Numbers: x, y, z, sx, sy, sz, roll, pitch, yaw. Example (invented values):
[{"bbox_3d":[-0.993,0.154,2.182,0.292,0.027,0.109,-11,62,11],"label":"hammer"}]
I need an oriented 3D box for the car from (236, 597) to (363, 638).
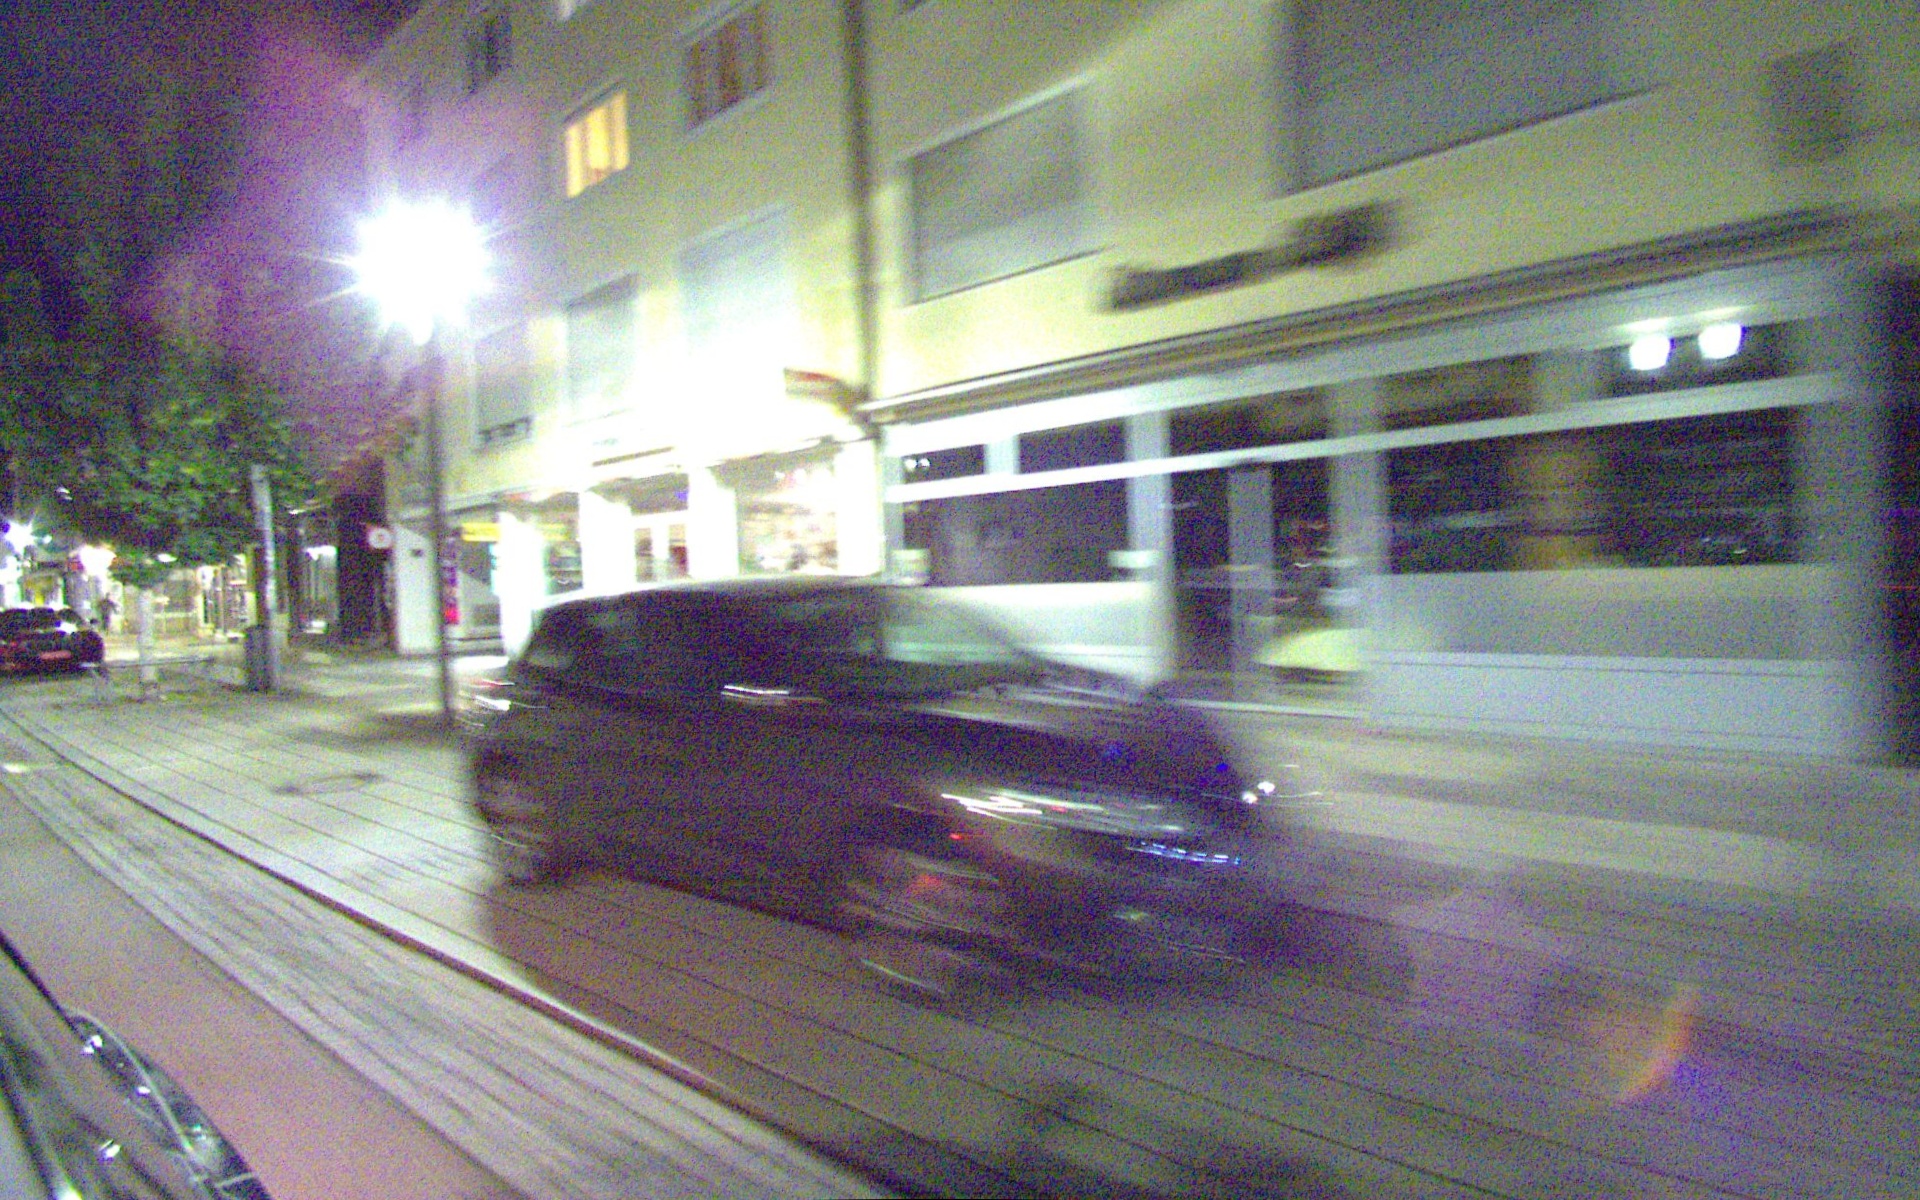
[{"bbox_3d":[-29.448,0.760,45.221,1.779,1.411,4.394,-5,0,42],"label":"car"}]

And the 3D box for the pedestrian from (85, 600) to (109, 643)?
[{"bbox_3d":[-36.325,0.908,42.602,1.023,1.758,0.614,-1,2,43],"label":"pedestrian"}]

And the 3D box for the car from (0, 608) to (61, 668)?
[{"bbox_3d":[-25.856,1.021,27.476,3.846,1.487,1.710,-1,2,42],"label":"car"}]

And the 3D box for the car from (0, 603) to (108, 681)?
[{"bbox_3d":[-21.451,0.922,23.352,5.007,1.498,1.998,-1,4,42],"label":"car"}]

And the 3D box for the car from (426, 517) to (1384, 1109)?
[{"bbox_3d":[-0.527,0.557,4.586,4.223,1.554,1.658,-1,2,37],"label":"car"}]
